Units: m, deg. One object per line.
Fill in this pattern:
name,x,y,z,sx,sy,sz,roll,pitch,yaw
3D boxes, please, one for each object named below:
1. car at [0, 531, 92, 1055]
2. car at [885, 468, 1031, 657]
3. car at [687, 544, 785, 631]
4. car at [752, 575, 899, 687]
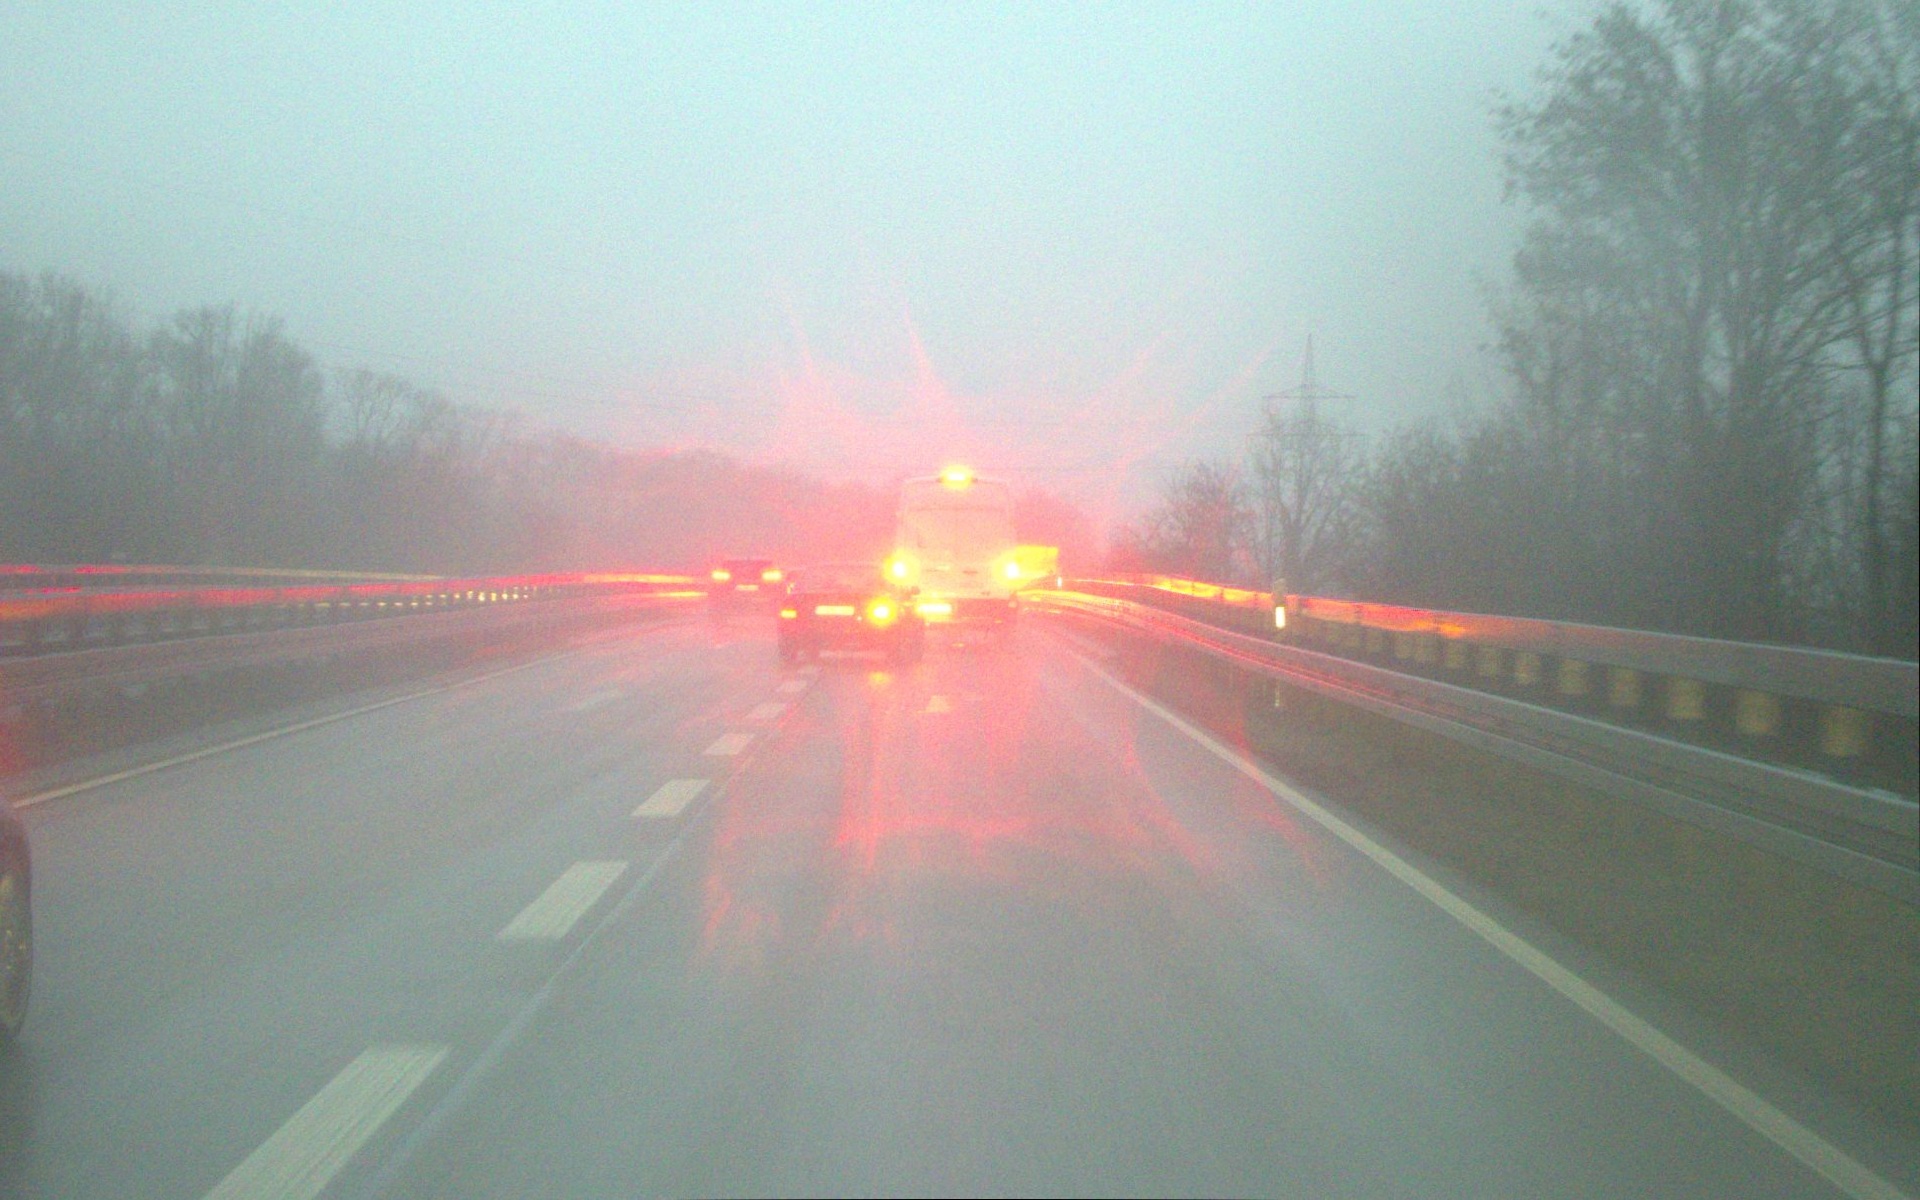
car,-3.667,0.535,8.996,1.730,1.527,4.042,0,-1,0
car,-0.063,-0.547,57.174,2.282,2.956,6.390,0,-1,-1
car,-5.039,-0.287,77.736,1.993,1.808,4.000,3,0,-2
car,-1.824,0.418,47.807,1.736,1.410,4.377,3,0,1
